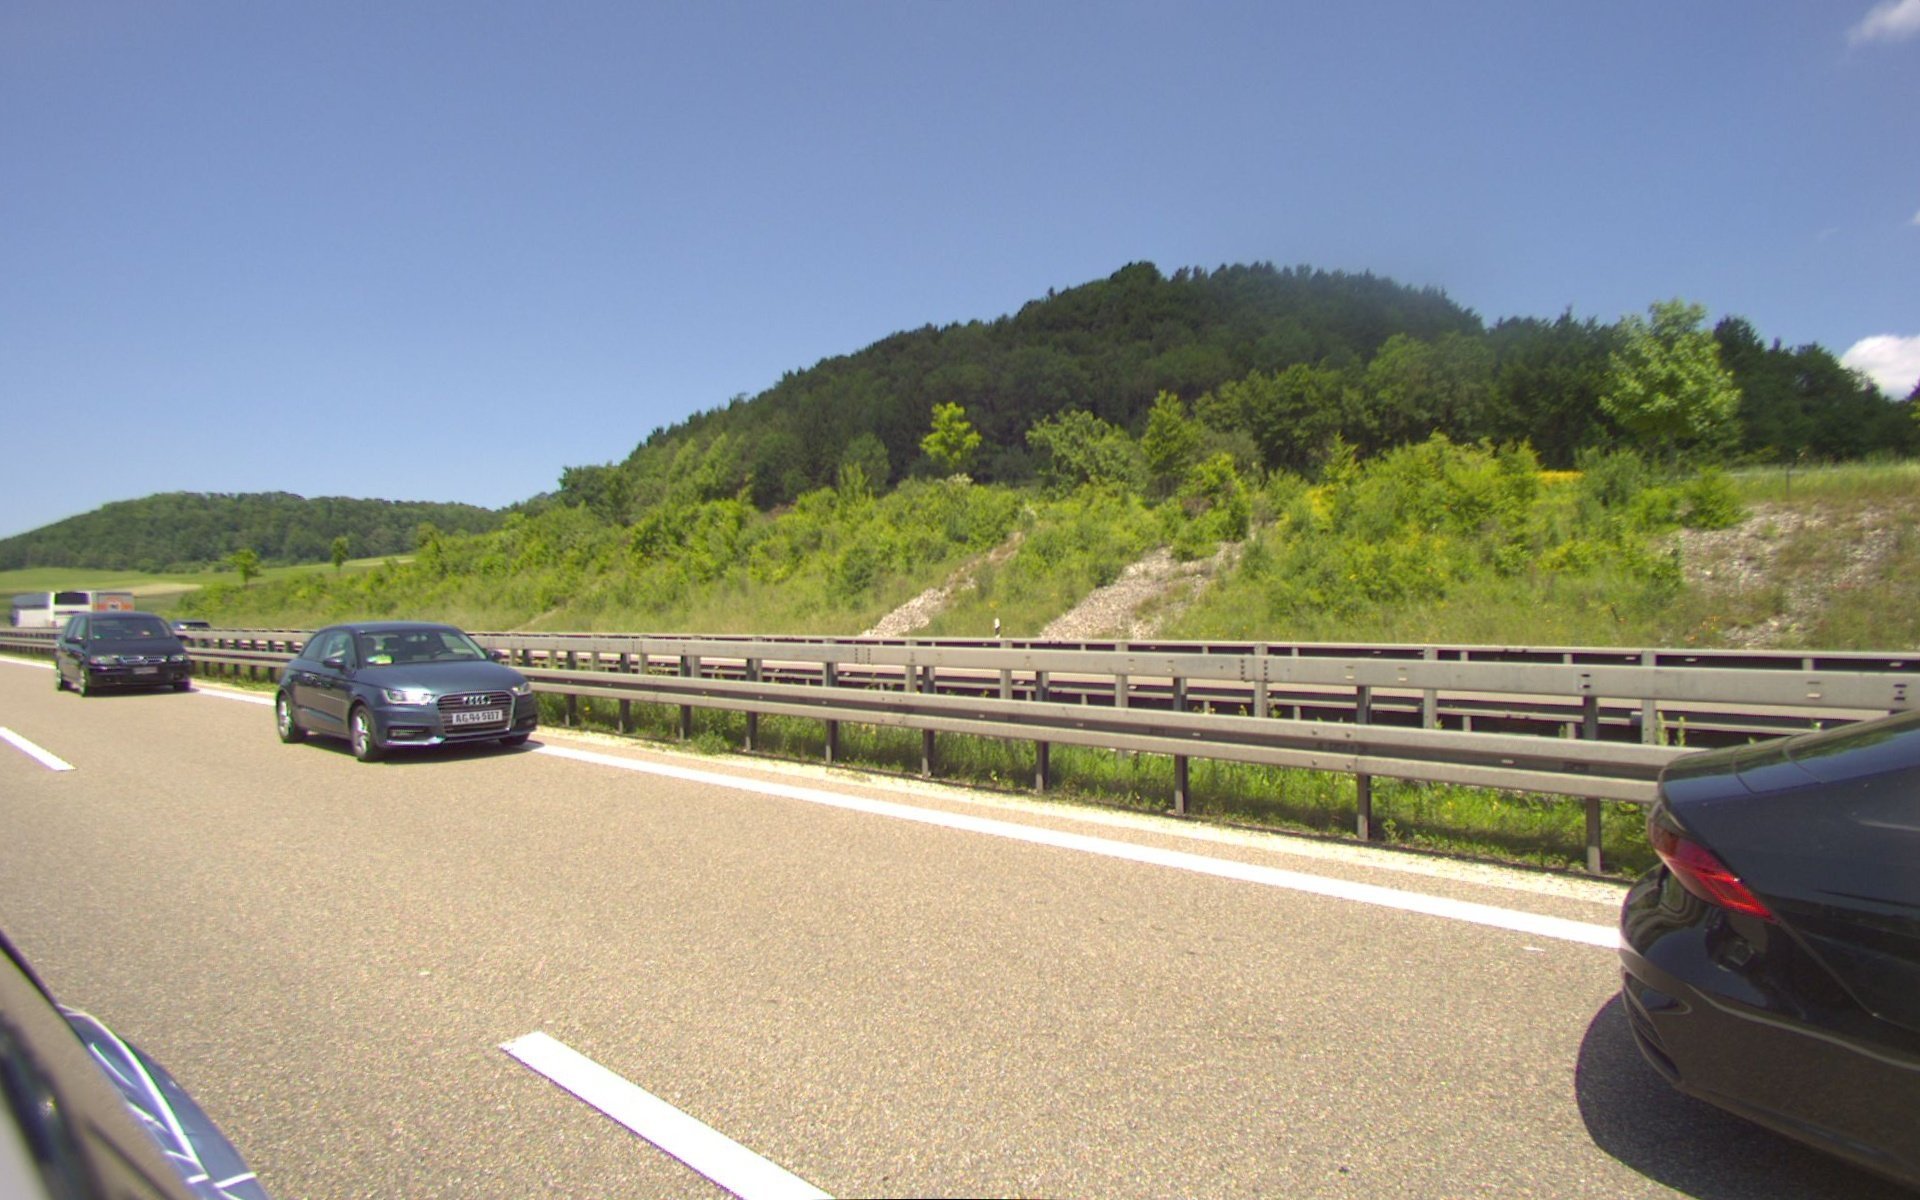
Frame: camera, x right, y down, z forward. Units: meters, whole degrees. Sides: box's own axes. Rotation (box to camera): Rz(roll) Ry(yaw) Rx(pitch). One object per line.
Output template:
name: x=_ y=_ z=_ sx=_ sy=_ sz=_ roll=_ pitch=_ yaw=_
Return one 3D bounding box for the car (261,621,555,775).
car: x=-6.239 y=0.943 z=11.240 sx=3.999 sy=1.399 sz=1.670 roll=-1 pitch=-1 yaw=42

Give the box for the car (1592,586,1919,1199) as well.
car: x=3.922 y=0.644 z=1.375 sx=4.968 sy=1.401 sz=1.781 roll=-1 pitch=-1 yaw=42

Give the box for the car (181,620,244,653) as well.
car: x=-41.228 y=1.966 z=55.776 sx=3.998 sy=1.725 sz=1.973 roll=-1 pitch=0 yaw=41

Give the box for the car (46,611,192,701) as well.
car: x=-17.149 y=1.064 z=20.552 sx=4.447 sy=1.647 sz=1.781 roll=-1 pitch=-1 yaw=44

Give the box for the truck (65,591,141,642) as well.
truck: x=-73.460 y=1.418 z=86.665 sx=9.917 sy=4.134 sz=3.580 roll=-1 pitch=-1 yaw=41

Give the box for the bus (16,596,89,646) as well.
bus: x=-72.731 y=1.729 z=80.947 sx=14.809 sy=3.689 sz=2.652 roll=-1 pitch=-1 yaw=41
